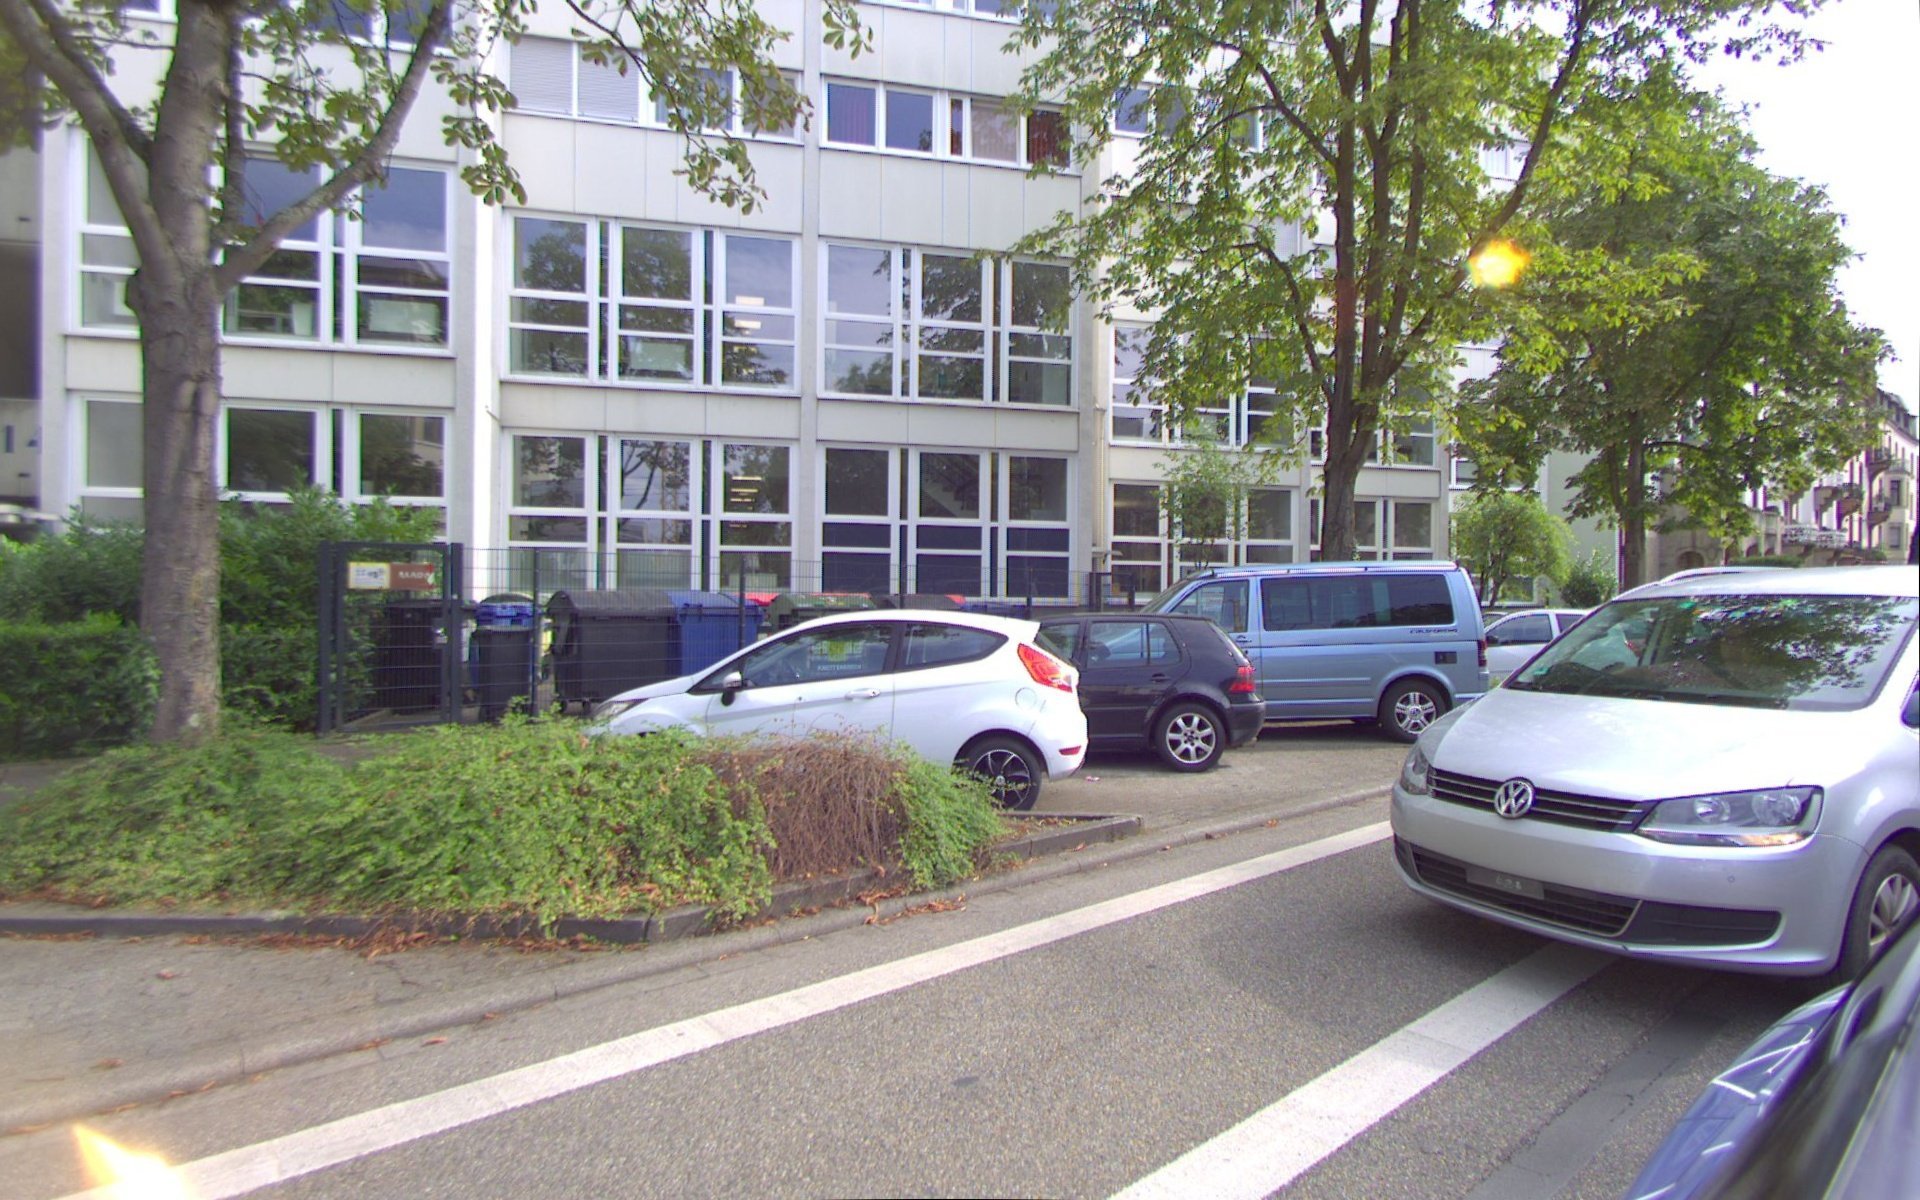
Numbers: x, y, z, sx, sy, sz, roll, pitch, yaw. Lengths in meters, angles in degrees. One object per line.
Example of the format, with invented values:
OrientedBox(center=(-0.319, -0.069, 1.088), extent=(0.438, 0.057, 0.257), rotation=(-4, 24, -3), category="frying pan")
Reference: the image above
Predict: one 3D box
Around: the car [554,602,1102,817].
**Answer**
OrientedBox(center=(-0.893, 0.735, 7.740), extent=(3.792, 1.410, 1.632), rotation=(0, 0, 4), category="car")

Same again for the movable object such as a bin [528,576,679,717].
OrientedBox(center=(-4.260, 0.502, 12.068), extent=(1.389, 1.549, 1.330), rotation=(0, 0, -36), category="movable object such as a bin")

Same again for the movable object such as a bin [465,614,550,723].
OrientedBox(center=(-4.958, 0.718, 11.083), extent=(0.729, 1.119, 0.786), rotation=(0, 0, -34), category="movable object such as a bin")

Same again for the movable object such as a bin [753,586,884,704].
OrientedBox(center=(-1.957, 0.576, 13.968), extent=(1.328, 1.521, 1.335), rotation=(0, 0, -36), category="movable object such as a bin")

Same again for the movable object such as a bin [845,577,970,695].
OrientedBox(center=(-0.782, 0.488, 14.821), extent=(1.328, 1.616, 1.335), rotation=(0, 0, -36), category="movable object such as a bin")

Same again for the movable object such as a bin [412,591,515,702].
OrientedBox(center=(-6.594, 0.590, 13.516), extent=(1.095, 1.409, 1.065), rotation=(0, 0, -19), category="movable object such as a bin")

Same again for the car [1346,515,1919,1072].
OrientedBox(center=(4.255, 0.594, 4.920), extent=(4.522, 1.722, 1.821), rotation=(0, 0, -25), category="car")

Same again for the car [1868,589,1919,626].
OrientedBox(center=(45.239, 0.350, 47.397), extent=(3.605, 1.697, 1.753), rotation=(0, 1, 24), category="car")

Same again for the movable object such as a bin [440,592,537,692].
OrientedBox(center=(-6.869, 0.584, 14.828), extent=(1.155, 1.387, 1.177), rotation=(0, 0, -19), category="movable object such as a bin")

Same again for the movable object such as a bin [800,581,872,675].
OrientedBox(center=(-2.202, 0.477, 17.802), extent=(1.150, 1.588, 1.182), rotation=(0, 0, -12), category="movable object such as a bin")

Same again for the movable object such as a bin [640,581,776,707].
OrientedBox(center=(-3.266, 0.523, 13.092), extent=(1.312, 1.523, 1.335), rotation=(0, 0, -36), category="movable object such as a bin")

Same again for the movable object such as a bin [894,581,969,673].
OrientedBox(center=(-0.531, 0.461, 18.101), extent=(1.150, 1.588, 1.182), rotation=(0, 0, -12), category="movable object such as a bin")

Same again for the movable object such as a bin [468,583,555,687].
OrientedBox(center=(-7.139, 0.525, 16.178), extent=(1.155, 1.588, 1.177), rotation=(0, 0, -19), category="movable object such as a bin")

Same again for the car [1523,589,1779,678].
OrientedBox(center=(13.444, 0.603, 19.906), extent=(3.708, 1.638, 1.810), rotation=(0, 0, 9), category="car")

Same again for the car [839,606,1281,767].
OrientedBox(center=(0.919, 0.774, 9.905), extent=(3.902, 1.405, 1.812), rotation=(0, -1, 5), category="car")

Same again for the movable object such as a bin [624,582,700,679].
OrientedBox(center=(-5.054, 0.502, 17.270), extent=(1.150, 1.588, 1.182), rotation=(0, 0, -12), category="movable object such as a bin")

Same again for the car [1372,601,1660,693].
OrientedBox(center=(8.680, 0.697, 16.076), extent=(3.580, 1.347, 1.766), rotation=(0, 1, 5), category="car")

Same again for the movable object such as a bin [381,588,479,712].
OrientedBox(center=(-6.362, 0.568, 12.200), extent=(0.893, 1.425, 1.026), rotation=(0, 0, -19), category="movable object such as a bin")

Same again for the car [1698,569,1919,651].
OrientedBox(center=(24.391, 0.243, 28.547), extent=(5.349, 2.203, 2.143), rotation=(0, 0, 9), category="car")

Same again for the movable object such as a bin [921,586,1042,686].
OrientedBox(center=(0.332, 0.527, 15.875), extent=(1.374, 1.477, 1.335), rotation=(0, 0, -36), category="movable object such as a bin")

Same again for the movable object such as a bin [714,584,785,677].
OrientedBox(center=(-3.620, 0.505, 17.410), extent=(1.150, 1.533, 1.182), rotation=(0, 0, -12), category="movable object such as a bin")

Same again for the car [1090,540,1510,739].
OrientedBox(center=(3.731, 0.400, 11.836), extent=(4.269, 2.090, 1.998), rotation=(0, 0, 5), category="car")
